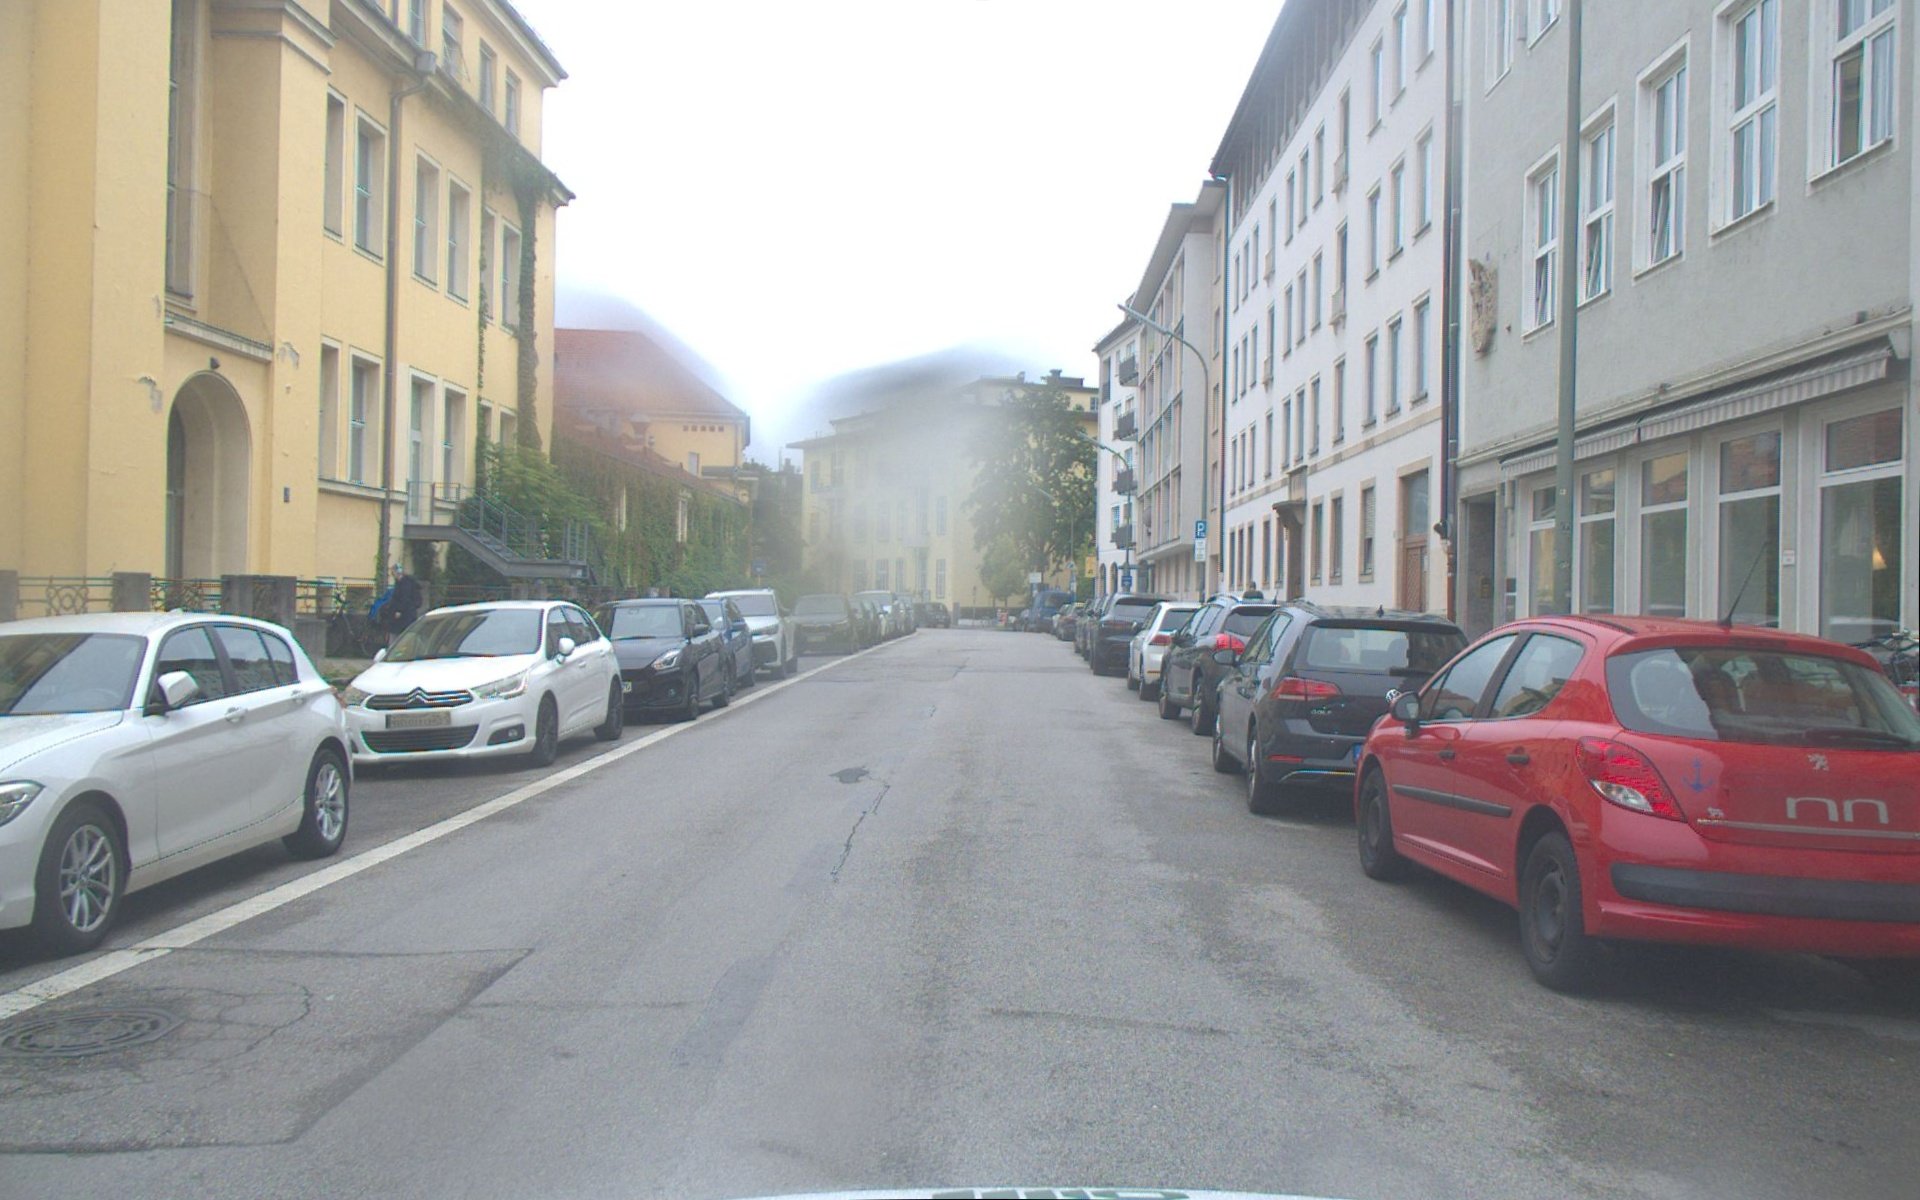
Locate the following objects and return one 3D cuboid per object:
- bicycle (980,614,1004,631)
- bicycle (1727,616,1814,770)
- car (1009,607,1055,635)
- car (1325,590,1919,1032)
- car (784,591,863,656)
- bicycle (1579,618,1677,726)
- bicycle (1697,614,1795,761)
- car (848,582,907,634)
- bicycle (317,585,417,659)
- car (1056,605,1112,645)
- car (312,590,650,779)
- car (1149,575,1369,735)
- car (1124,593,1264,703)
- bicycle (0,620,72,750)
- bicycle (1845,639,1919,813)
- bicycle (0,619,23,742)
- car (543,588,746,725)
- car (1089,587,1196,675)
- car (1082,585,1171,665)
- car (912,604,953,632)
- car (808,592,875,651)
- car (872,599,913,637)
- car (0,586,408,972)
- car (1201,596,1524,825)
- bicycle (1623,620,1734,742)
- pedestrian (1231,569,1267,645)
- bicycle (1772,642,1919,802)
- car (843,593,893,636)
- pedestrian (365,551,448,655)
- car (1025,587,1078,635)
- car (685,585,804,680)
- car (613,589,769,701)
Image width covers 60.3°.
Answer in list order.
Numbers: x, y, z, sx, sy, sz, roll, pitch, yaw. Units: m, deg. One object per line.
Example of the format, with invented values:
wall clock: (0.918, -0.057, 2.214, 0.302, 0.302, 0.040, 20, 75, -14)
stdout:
bicycle: (2.495, 1.743, 129.015, 1.891, 1.222, 0.592, 1, -1, 39)
bicycle: (6.987, 0.780, 14.285, 0.243, 1.277, 0.916, 1, 0, -3)
car: (4.217, 1.225, 97.615, 1.647, 1.413, 4.294, 6, -1, -10)
car: (3.134, 0.767, 8.022, 1.653, 1.526, 4.146, 3, 0, -1)
car: (-3.663, 0.622, 45.017, 1.752, 1.614, 4.817, -1, 0, 0)
bicycle: (7.815, 0.812, 19.431, 0.376, 1.178, 1.950, 1, 0, 1)
bicycle: (7.197, 0.777, 15.190, 0.243, 1.277, 1.233, 1, 0, -3)
car: (-3.231, 0.330, 65.662, 1.848, 1.923, 4.775, -1, -1, 2)
bicycle: (-10.698, 0.396, 29.861, 1.592, 1.290, 0.527, 1, 0, 2)
car: (4.776, 0.944, 64.450, 1.710, 1.412, 4.953, 3, 0, 0)
car: (-4.419, 0.721, 16.085, 1.748, 1.456, 4.653, -4, -1, 1)
car: (3.426, 0.571, 19.727, 1.672, 1.620, 4.360, 3, 0, -1)
car: (3.570, 0.681, 25.922, 1.638, 1.454, 4.531, 3, 1, 2)
bicycle: (-8.313, 0.714, 13.923, 0.526, 1.081, 1.641, 2, 0, 11)
bicycle: (6.742, 0.851, 11.705, 0.609, 1.108, 1.807, 1, 0, 36)
bicycle: (-8.830, 0.698, 14.065, 0.526, 1.081, 1.641, 2, 0, 11)
car: (-3.939, 0.675, 21.310, 1.664, 1.523, 4.149, -2, 0, 1)
car: (3.583, 0.596, 33.189, 1.801, 1.548, 4.710, 3, 0, 3)
car: (3.774, 0.558, 38.108, 1.611, 1.617, 4.635, 4, 0, 2)
car: (-2.160, 1.391, 128.166, 1.737, 1.907, 4.353, 6, -1, -20)
car: (-3.523, 0.631, 49.873, 1.689, 1.658, 4.465, -1, 0, 0)
car: (-3.067, 0.811, 75.961, 1.662, 1.672, 4.490, -1, -1, 0)
car: (-4.513, 0.717, 8.504, 1.757, 1.454, 4.664, -2, 0, 0)
car: (2.964, 0.719, 13.068, 1.652, 1.426, 4.365, 2, 0, 3)
bicycle: (7.550, 0.816, 17.441, 0.387, 1.197, 1.815, 2, 0, 1)
pedestrian: (6.993, 0.169, 40.008, 0.708, 1.794, 0.905, 2, -2, 2)
bicycle: (6.695, 0.868, 12.303, 1.831, 1.086, 0.508, 1, 0, -41)
car: (-3.316, 0.522, 60.203, 1.558, 1.466, 4.018, -1, 0, 0)
pedestrian: (-9.461, 0.043, 28.298, 0.882, 1.749, 1.059, 0, 0, 17)
car: (5.031, 0.647, 91.457, 2.039, 2.272, 5.238, 6, -3, -5)
car: (-4.001, 0.574, 31.392, 1.710, 1.662, 4.855, 0, 0, -1)
car: (-4.189, 0.678, 26.427, 1.669, 1.528, 4.495, -4, 0, 0)
